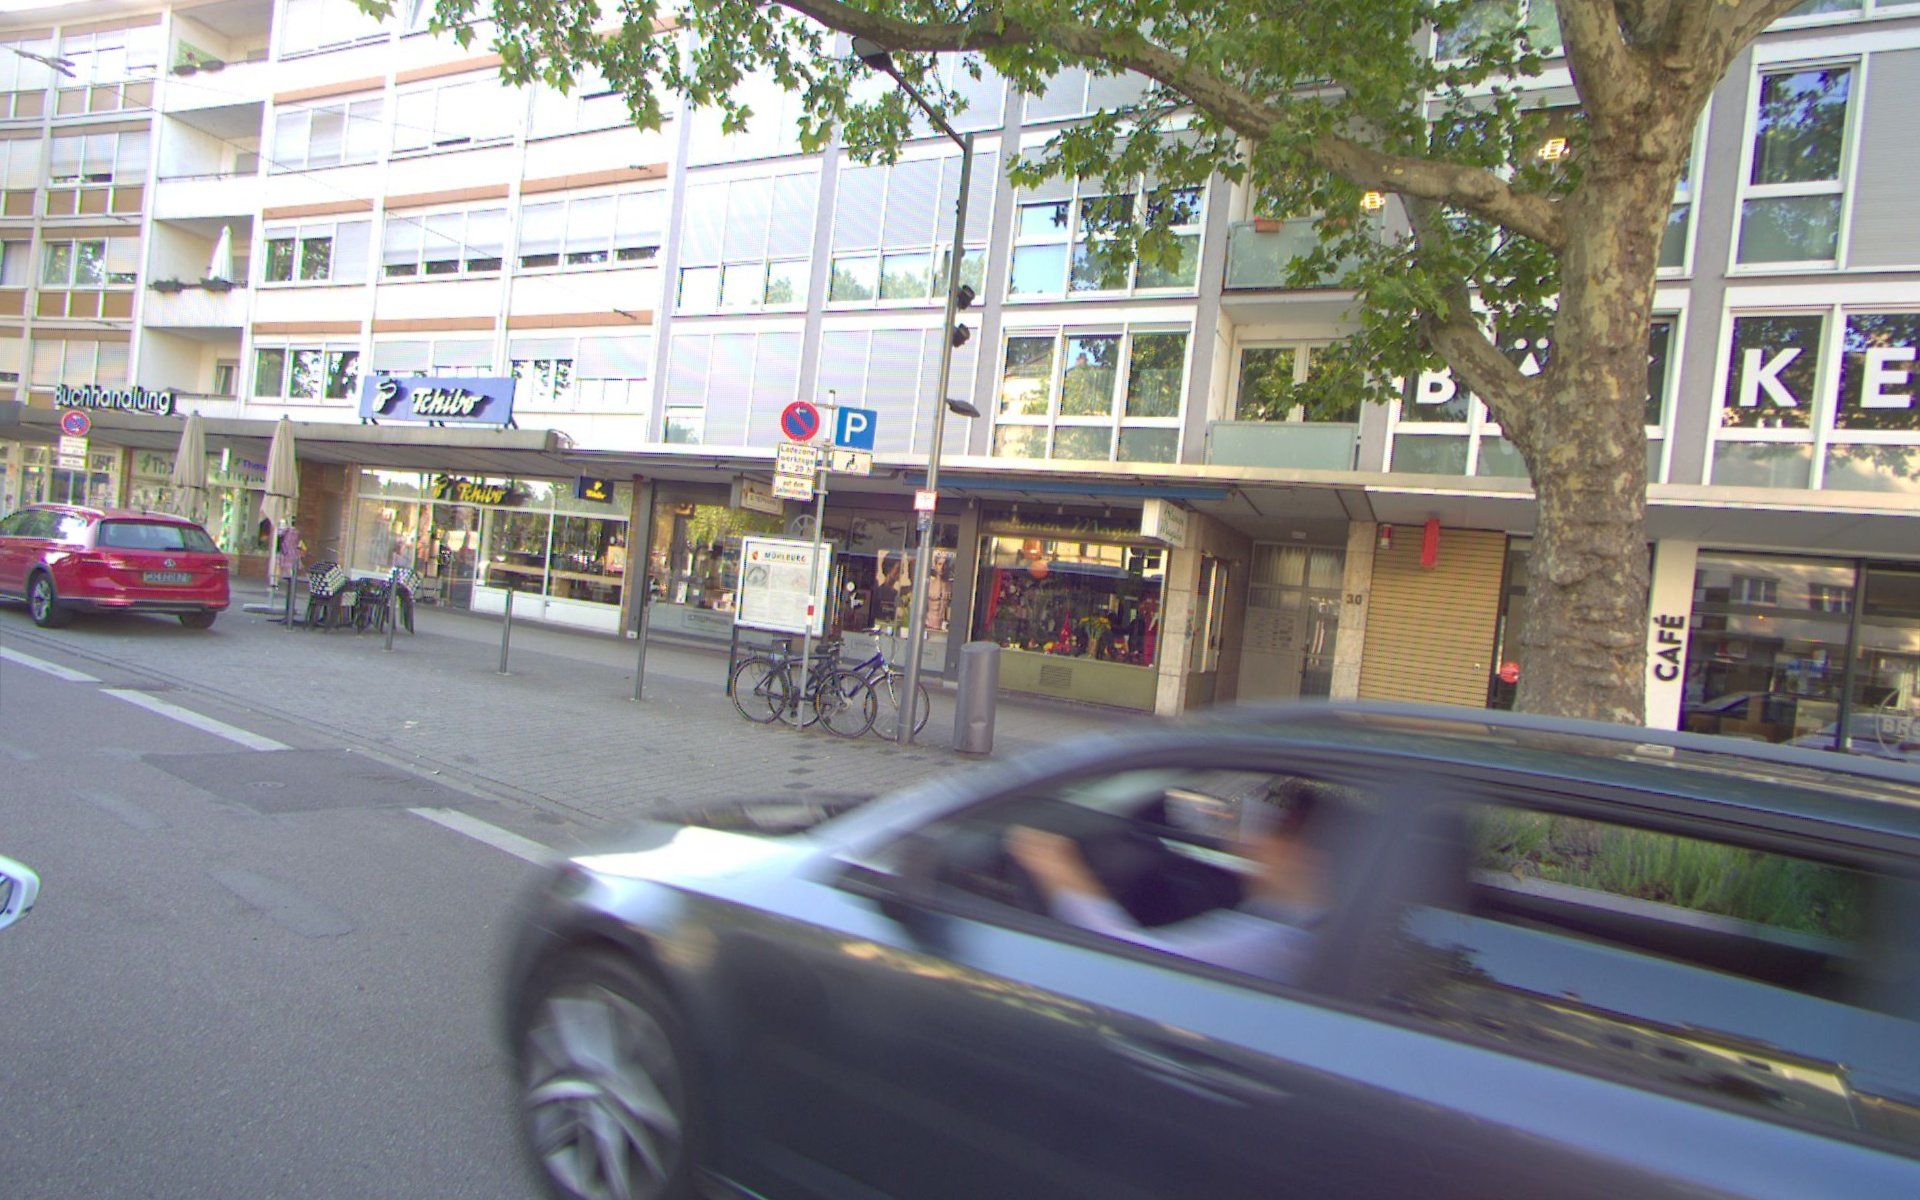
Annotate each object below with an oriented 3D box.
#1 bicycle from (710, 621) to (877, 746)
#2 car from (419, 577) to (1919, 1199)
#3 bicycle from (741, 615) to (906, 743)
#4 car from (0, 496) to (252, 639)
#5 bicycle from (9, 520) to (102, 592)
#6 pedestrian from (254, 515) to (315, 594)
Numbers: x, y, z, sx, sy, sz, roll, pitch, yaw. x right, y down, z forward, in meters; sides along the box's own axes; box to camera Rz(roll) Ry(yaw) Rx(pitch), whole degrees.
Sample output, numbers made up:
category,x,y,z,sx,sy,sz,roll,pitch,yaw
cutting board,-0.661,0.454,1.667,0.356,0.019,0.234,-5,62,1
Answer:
category,x,y,z,sx,sy,sz,roll,pitch,yaw
bicycle,-1.737,0.838,10.409,1.686,1.055,0.294,6,4,17
car,0.795,0.951,2.341,4.006,1.490,1.807,6,-3,33
bicycle,-1.453,0.814,10.616,1.686,1.116,0.294,6,4,17
car,-11.740,-0.504,13.489,4.488,1.516,1.780,6,2,28
bicycle,-15.769,-0.772,17.533,1.631,1.085,0.512,7,3,22
pedestrian,-14.504,-0.968,21.607,0.793,1.571,0.641,7,1,24
